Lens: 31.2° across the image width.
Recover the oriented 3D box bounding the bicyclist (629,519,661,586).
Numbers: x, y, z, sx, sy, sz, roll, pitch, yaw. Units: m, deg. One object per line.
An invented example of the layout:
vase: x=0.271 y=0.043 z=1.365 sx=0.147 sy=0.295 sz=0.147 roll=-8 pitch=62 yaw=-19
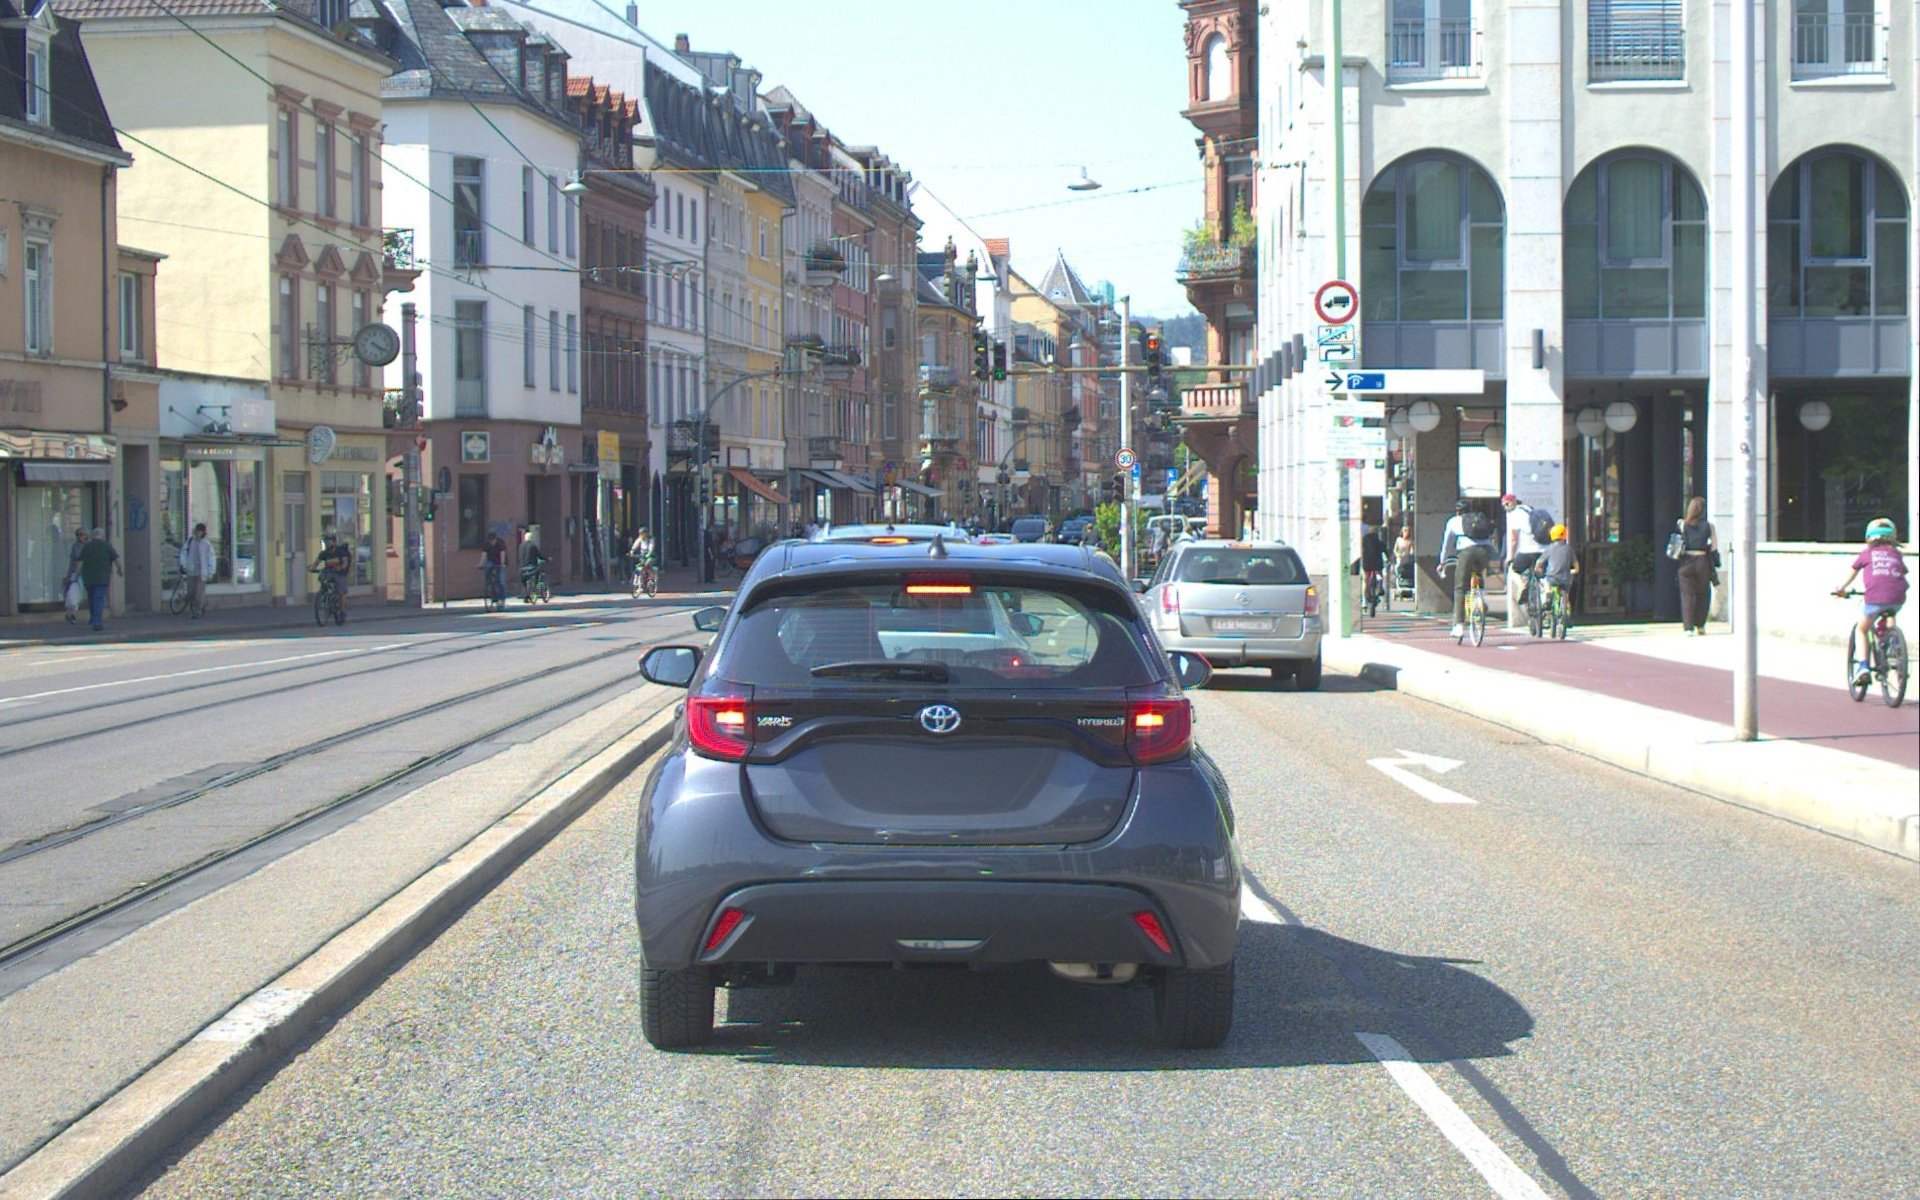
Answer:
bicyclist: x=-7.877 y=-1.178 z=85.885 sx=0.627 sy=1.644 sz=0.621 roll=2 pitch=2 yaw=8

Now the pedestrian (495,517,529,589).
pedestrian: x=-11.090 y=-1.162 z=85.174 sx=0.736 sy=1.760 sz=0.787 roll=0 pitch=2 yaw=0

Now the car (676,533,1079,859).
car: x=-0.429 y=0.418 z=18.400 sx=1.897 sy=1.525 sz=4.000 roll=1 pitch=1 yaw=-1

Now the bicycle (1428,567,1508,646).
bicycle: x=5.992 y=0.068 z=40.577 sx=0.704 sy=0.879 sz=1.525 roll=-1 pitch=1 yaw=0

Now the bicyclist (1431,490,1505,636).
bicyclist: x=5.981 y=-0.436 z=40.522 sx=0.701 sy=1.689 sz=0.924 roll=-1 pitch=1 yaw=0

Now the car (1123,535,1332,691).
car: x=2.668 y=0.087 z=35.153 sx=1.705 sy=1.461 sz=4.326 roll=1 pitch=1 yaw=-1

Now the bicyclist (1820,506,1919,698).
bicyclist: x=6.716 y=0.010 z=25.356 sx=0.534 sy=1.378 sz=0.669 roll=-2 pitch=1 yaw=-1

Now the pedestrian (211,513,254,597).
pedestrian: x=-14.482 y=-0.901 z=68.436 sx=0.649 sy=1.596 sz=0.566 roll=4 pitch=3 yaw=0

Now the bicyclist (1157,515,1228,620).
bicyclist: x=5.842 y=-0.819 z=86.412 sx=1.228 sy=2.520 sz=1.105 roll=3 pitch=1 yaw=-30

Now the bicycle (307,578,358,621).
bicycle: x=-11.485 y=-0.019 z=62.957 sx=0.620 sy=0.713 sz=1.771 roll=1 pitch=2 yaw=0

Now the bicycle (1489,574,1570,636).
bicycle: x=7.273 y=0.066 z=43.938 sx=0.416 sy=0.763 sz=0.961 roll=-3 pitch=1 yaw=-39

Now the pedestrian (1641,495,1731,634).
pedestrian: x=8.753 y=-0.429 z=41.487 sx=0.739 sy=1.609 sz=1.016 roll=4 pitch=1 yaw=-1

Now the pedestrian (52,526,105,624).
pedestrian: x=-14.895 y=-0.423 z=58.100 sx=0.649 sy=1.596 sz=0.566 roll=4 pitch=3 yaw=0

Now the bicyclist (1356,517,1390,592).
bicyclist: x=7.361 y=-0.811 z=61.318 sx=0.538 sy=1.312 sz=0.672 roll=-2 pitch=1 yaw=4

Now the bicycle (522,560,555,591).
bicycle: x=-10.411 y=-0.597 z=84.935 sx=0.620 sy=0.713 sz=1.771 roll=1 pitch=2 yaw=0

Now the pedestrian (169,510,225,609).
pedestrian: x=-13.931 y=-0.741 z=62.774 sx=0.736 sy=1.760 sz=0.787 roll=4 pitch=1 yaw=0

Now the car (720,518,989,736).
car: x=-0.788 y=0.151 z=26.515 sx=1.897 sy=1.525 sz=4.000 roll=1 pitch=1 yaw=-1

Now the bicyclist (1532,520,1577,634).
bicyclist: x=7.286 y=-0.285 z=42.112 sx=0.422 sy=1.378 sz=0.443 roll=-2 pitch=1 yaw=-1

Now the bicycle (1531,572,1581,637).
bicycle: x=7.298 y=0.051 z=42.086 sx=0.416 sy=0.763 sz=0.962 roll=-2 pitch=1 yaw=0

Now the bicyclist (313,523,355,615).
bicyclist: x=-11.463 y=-0.575 z=62.987 sx=0.627 sy=1.644 sz=0.622 roll=1 pitch=2 yaw=0

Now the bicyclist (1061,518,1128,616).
bicyclist: x=3.566 y=-0.877 z=91.471 sx=1.228 sy=2.520 sz=1.105 roll=3 pitch=1 yaw=-28

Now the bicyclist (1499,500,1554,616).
bicyclist: x=7.243 y=-0.542 z=43.948 sx=0.484 sy=1.461 sz=0.443 roll=-3 pitch=1 yaw=-39

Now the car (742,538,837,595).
car: x=-4.471 y=-0.911 z=90.654 sx=1.731 sy=1.455 sz=4.372 roll=0 pitch=1 yaw=7

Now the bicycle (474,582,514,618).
bicycle: x=-10.088 y=-0.007 z=74.448 sx=0.620 sy=0.713 sz=1.731 roll=1 pitch=2 yaw=0

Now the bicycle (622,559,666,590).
bicycle: x=-7.892 y=-0.650 z=85.890 sx=0.620 sy=0.713 sz=2.044 roll=2 pitch=2 yaw=9

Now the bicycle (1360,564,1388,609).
bicycle: x=7.393 y=-0.249 z=61.413 sx=0.416 sy=0.763 sz=1.205 roll=-2 pitch=1 yaw=4

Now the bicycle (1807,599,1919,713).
bicycle: x=6.728 y=0.399 z=25.354 sx=0.514 sy=0.763 sz=1.661 roll=-2 pitch=1 yaw=0

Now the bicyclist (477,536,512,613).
bicyclist: x=-10.085 y=-0.554 z=74.475 sx=0.627 sy=1.644 sz=0.622 roll=1 pitch=2 yaw=0

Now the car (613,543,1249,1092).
car: x=-0.112 y=0.567 z=11.248 sx=1.720 sy=1.468 sz=3.658 roll=1 pitch=1 yaw=-1

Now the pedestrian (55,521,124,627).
pedestrian: x=-14.085 y=-0.419 z=55.633 sx=0.762 sy=1.648 sz=0.711 roll=4 pitch=1 yaw=8

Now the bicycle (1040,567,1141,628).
bicycle: x=3.461 y=-0.082 z=91.438 sx=1.112 sy=1.415 sz=3.007 roll=3 pitch=1 yaw=-31

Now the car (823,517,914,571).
car: x=-2.705 y=-1.673 z=102.532 sx=1.994 sy=1.581 sz=4.651 roll=0 pitch=1 yaw=8
